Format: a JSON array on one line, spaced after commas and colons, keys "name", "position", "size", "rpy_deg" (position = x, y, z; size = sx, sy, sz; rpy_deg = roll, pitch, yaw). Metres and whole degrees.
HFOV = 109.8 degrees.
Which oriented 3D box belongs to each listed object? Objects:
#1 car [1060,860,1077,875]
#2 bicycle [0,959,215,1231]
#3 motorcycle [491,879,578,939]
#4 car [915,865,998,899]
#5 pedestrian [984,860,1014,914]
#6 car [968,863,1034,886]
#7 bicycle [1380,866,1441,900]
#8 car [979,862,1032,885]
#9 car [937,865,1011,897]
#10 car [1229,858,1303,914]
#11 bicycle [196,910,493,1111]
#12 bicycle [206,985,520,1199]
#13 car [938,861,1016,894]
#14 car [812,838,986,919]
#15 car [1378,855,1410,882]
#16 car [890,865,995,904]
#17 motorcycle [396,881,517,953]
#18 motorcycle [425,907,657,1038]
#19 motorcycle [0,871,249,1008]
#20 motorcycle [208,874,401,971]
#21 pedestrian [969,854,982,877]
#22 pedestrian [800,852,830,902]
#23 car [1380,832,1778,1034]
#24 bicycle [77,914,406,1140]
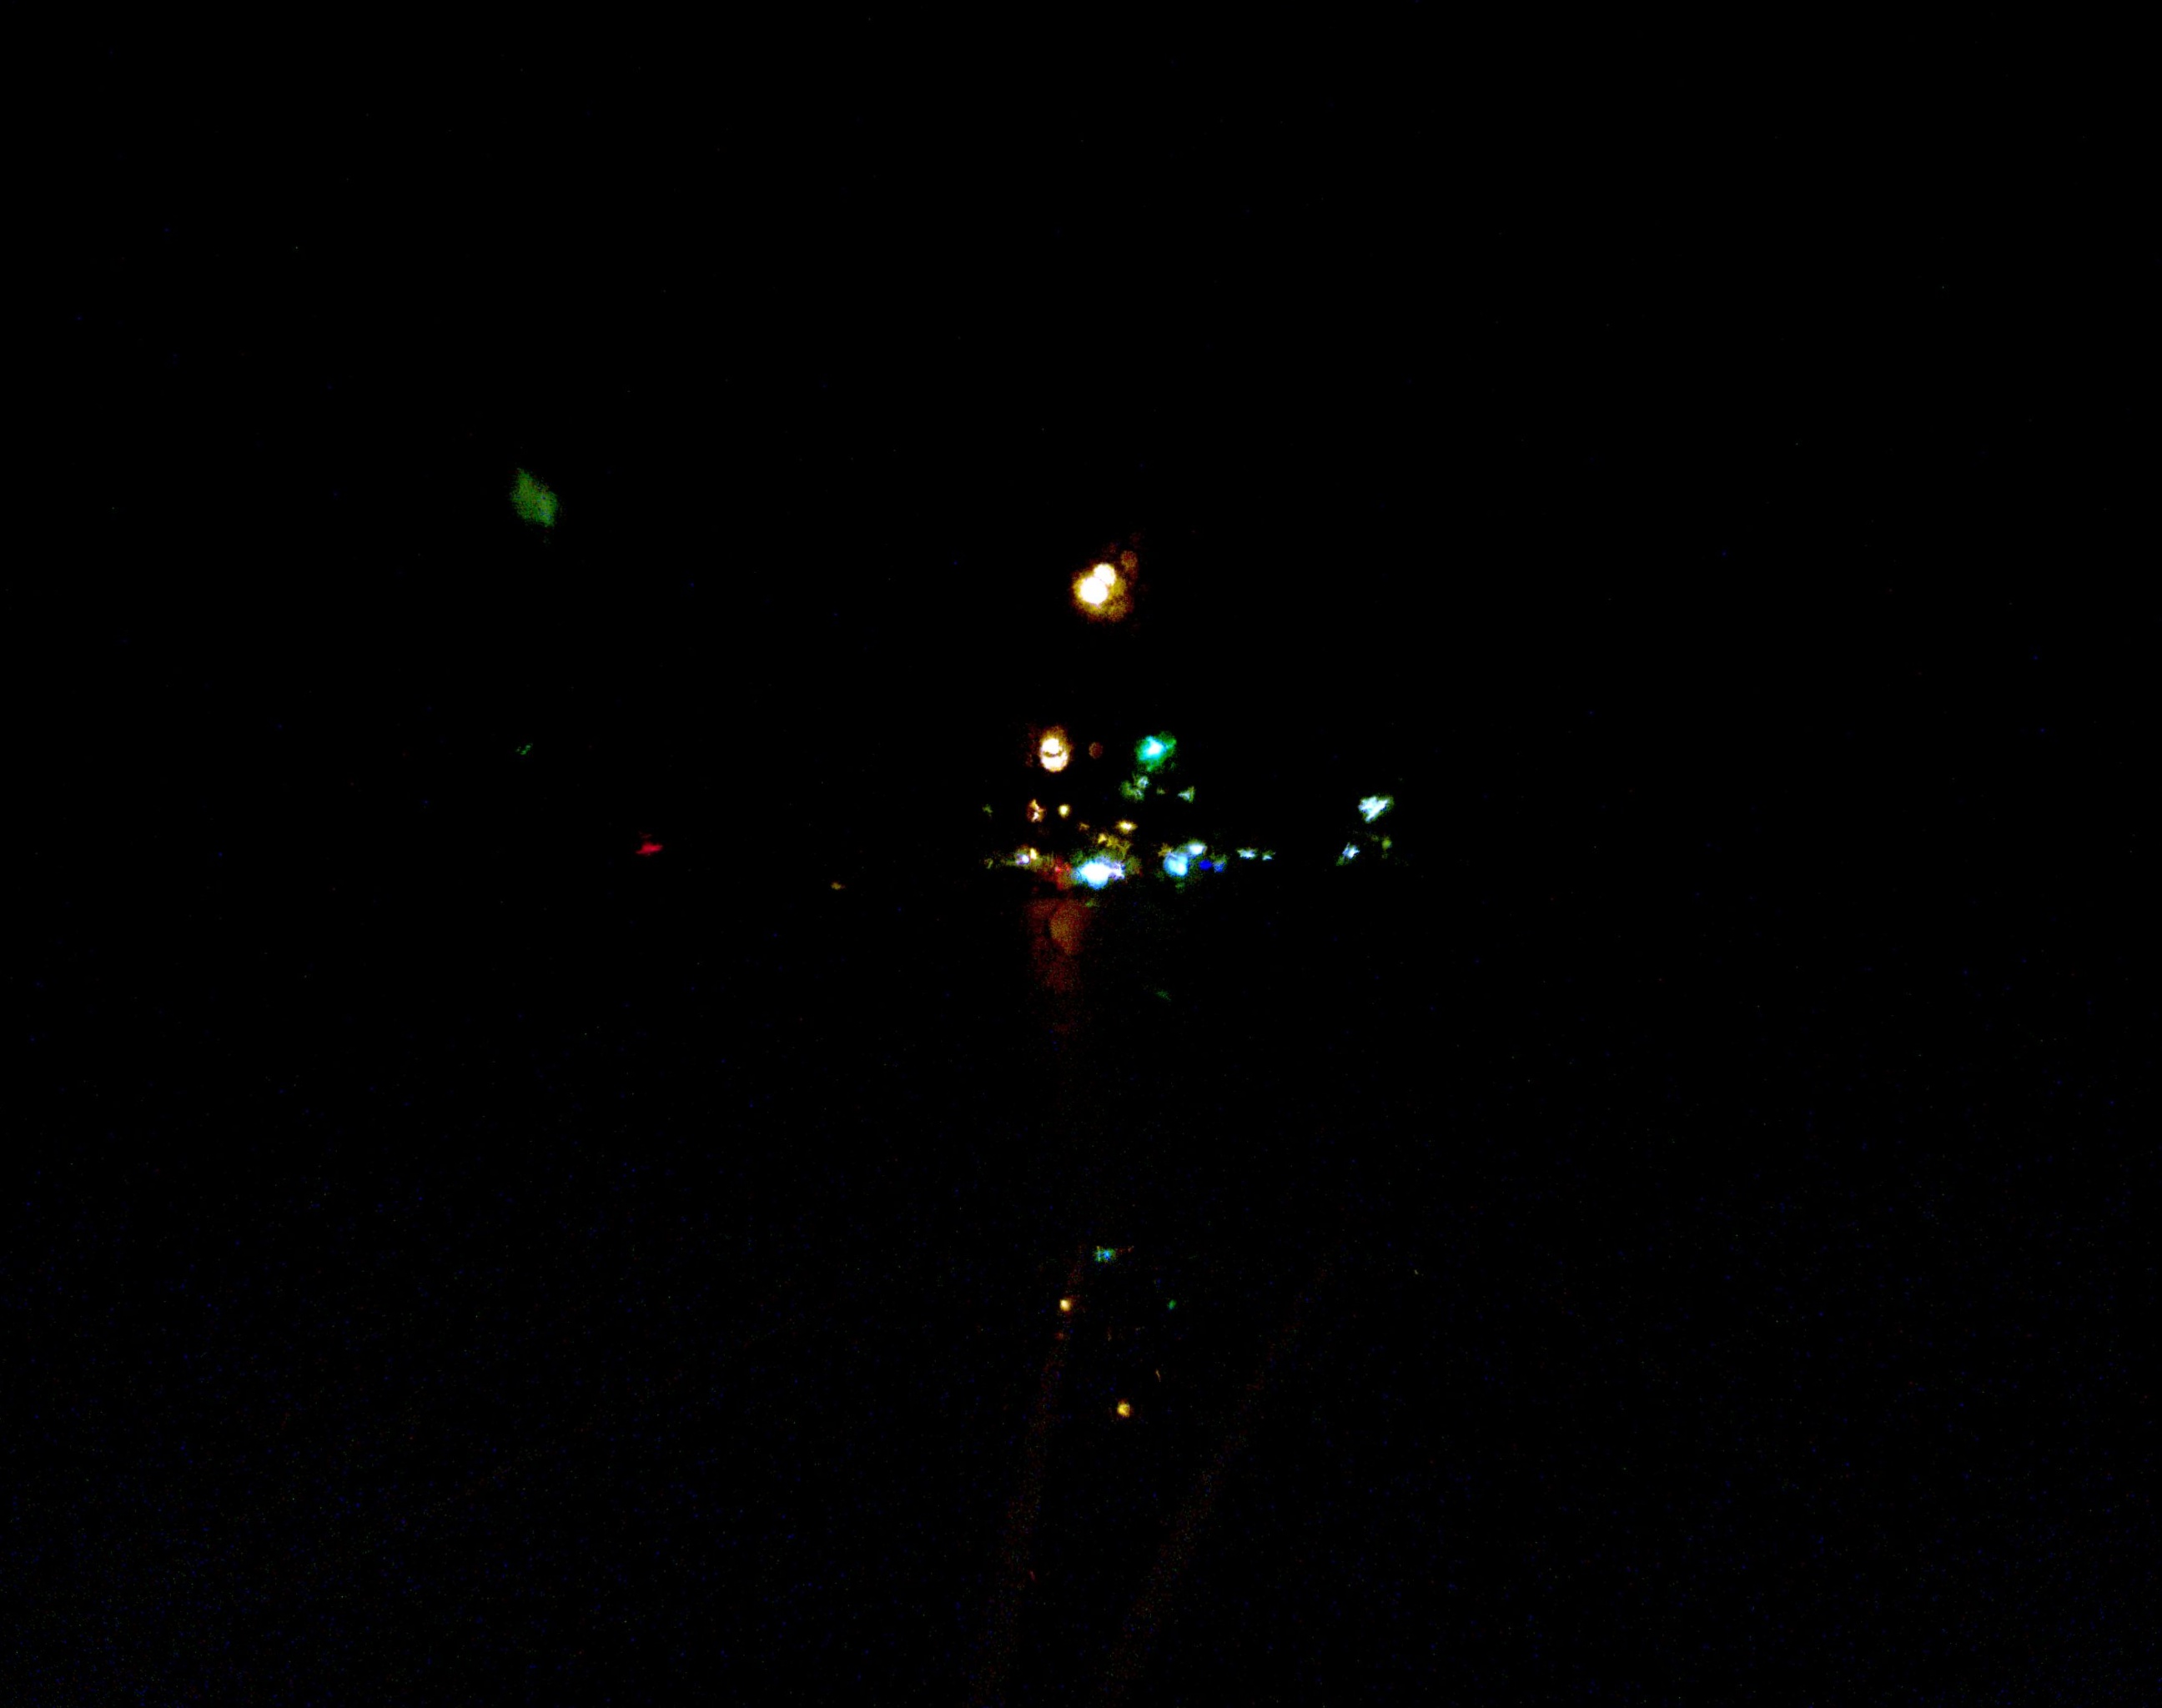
[{"name": "car", "position": [-1.492, 1.587, 92.061], "size": [1.810, 1.759, 4.273], "rpy_deg": [0, 0, 1]}, {"name": "bicycle", "position": [-4.996, 1.054, 3.441], "size": [1.600, 1.105, 0.418], "rpy_deg": [1, 0, -2]}, {"name": "motorcycle", "position": [-10.690, 1.042, 14.921], "size": [0.524, 1.061, 1.624], "rpy_deg": [-1, 0, -1]}, {"name": "car", "position": [-5.850, 1.285, 35.869], "size": [3.518, 1.552, 1.590], "rpy_deg": [0, 0, -35]}, {"name": "pedestrian", "position": [-2.732, 1.089, 25.435], "size": [0.824, 1.759, 1.177], "rpy_deg": [0, 0, 1]}, {"name": "car", "position": [-5.375, 1.385, 51.306], "size": [4.123, 1.482, 1.590], "rpy_deg": [2, -1, -37]}, {"name": "bicycle", "position": [11.765, 1.035, 27.178], "size": [1.966, 1.173, 0.542], "rpy_deg": [0, 0, 19]}, {"name": "car", "position": [-5.380, 1.419, 54.450], "size": [3.404, 1.582, 1.590], "rpy_deg": [2, -1, -35]}, {"name": "car", "position": [-5.488, 1.350, 39.022], "size": [3.403, 1.552, 1.590], "rpy_deg": [0, 0, -36]}, {"name": "car", "position": [5.990, 0.980, 25.058], "size": [1.815, 1.660, 4.414], "rpy_deg": [-1, -1, 7]}, {"name": "bicycle", "position": [-4.905, 1.015, 5.090], "size": [1.668, 1.227, 0.386], "rpy_deg": [1, 0, 4]}, {"name": "bicycle", "position": [-3.551, 1.172, 3.797], "size": [1.214, 0.942, 0.302], "rpy_deg": [2, 0, -2]}, {"name": "car", "position": [-5.690, 1.279, 41.749], "size": [3.808, 1.679, 1.832], "rpy_deg": [-1, 0, -30]}, {"name": "car", "position": [-5.738, 0.718, 24.161], "size": [4.951, 2.327, 2.226], "rpy_deg": [0, 0, -33]}, {"name": "car", "position": [20.906, 0.960, 50.656], "size": [1.696, 1.717, 4.008], "rpy_deg": [1, -1, 25]}, {"name": "car", "position": [-5.895, 1.242, 32.422], "size": [4.058, 1.552, 1.747], "rpy_deg": [0, 0, -28]}, {"name": "motorcycle", "position": [-10.526, 1.019, 12.914], "size": [0.524, 1.061, 2.057], "rpy_deg": [-1, 0, -6]}, {"name": "motorcycle", "position": [-5.025, 1.097, 7.156], "size": [1.637, 1.117, 0.653], "rpy_deg": [2, 0, -6]}, {"name": "motorcycle", "position": [-10.624, 0.861, 8.463], "size": [0.524, 1.311, 2.125], "rpy_deg": [-1, -1, -5]}, {"name": "motorcycle", "position": [-10.839, 0.900, 10.737], "size": [0.524, 1.200, 2.126], "rpy_deg": [-1, -1, 0]}, {"name": "pedestrian", "position": [-8.580, 0.940, 61.794], "size": [0.806, 1.894, 0.884], "rpy_deg": [1, -2, 0]}, {"name": "pedestrian", "position": [-9.837, 0.853, 28.163], "size": [0.747, 1.829, 0.843], "rpy_deg": [1, -2, 0]}, {"name": "car", "position": [5.494, 0.742, 9.353], "size": [1.871, 1.835, 4.828], "rpy_deg": [0, 0, 2]}, {"name": "bicycle", "position": [-5.018, 1.001, 4.574], "size": [1.583, 1.227, 0.418], "rpy_deg": [1, 0, 4]}]
